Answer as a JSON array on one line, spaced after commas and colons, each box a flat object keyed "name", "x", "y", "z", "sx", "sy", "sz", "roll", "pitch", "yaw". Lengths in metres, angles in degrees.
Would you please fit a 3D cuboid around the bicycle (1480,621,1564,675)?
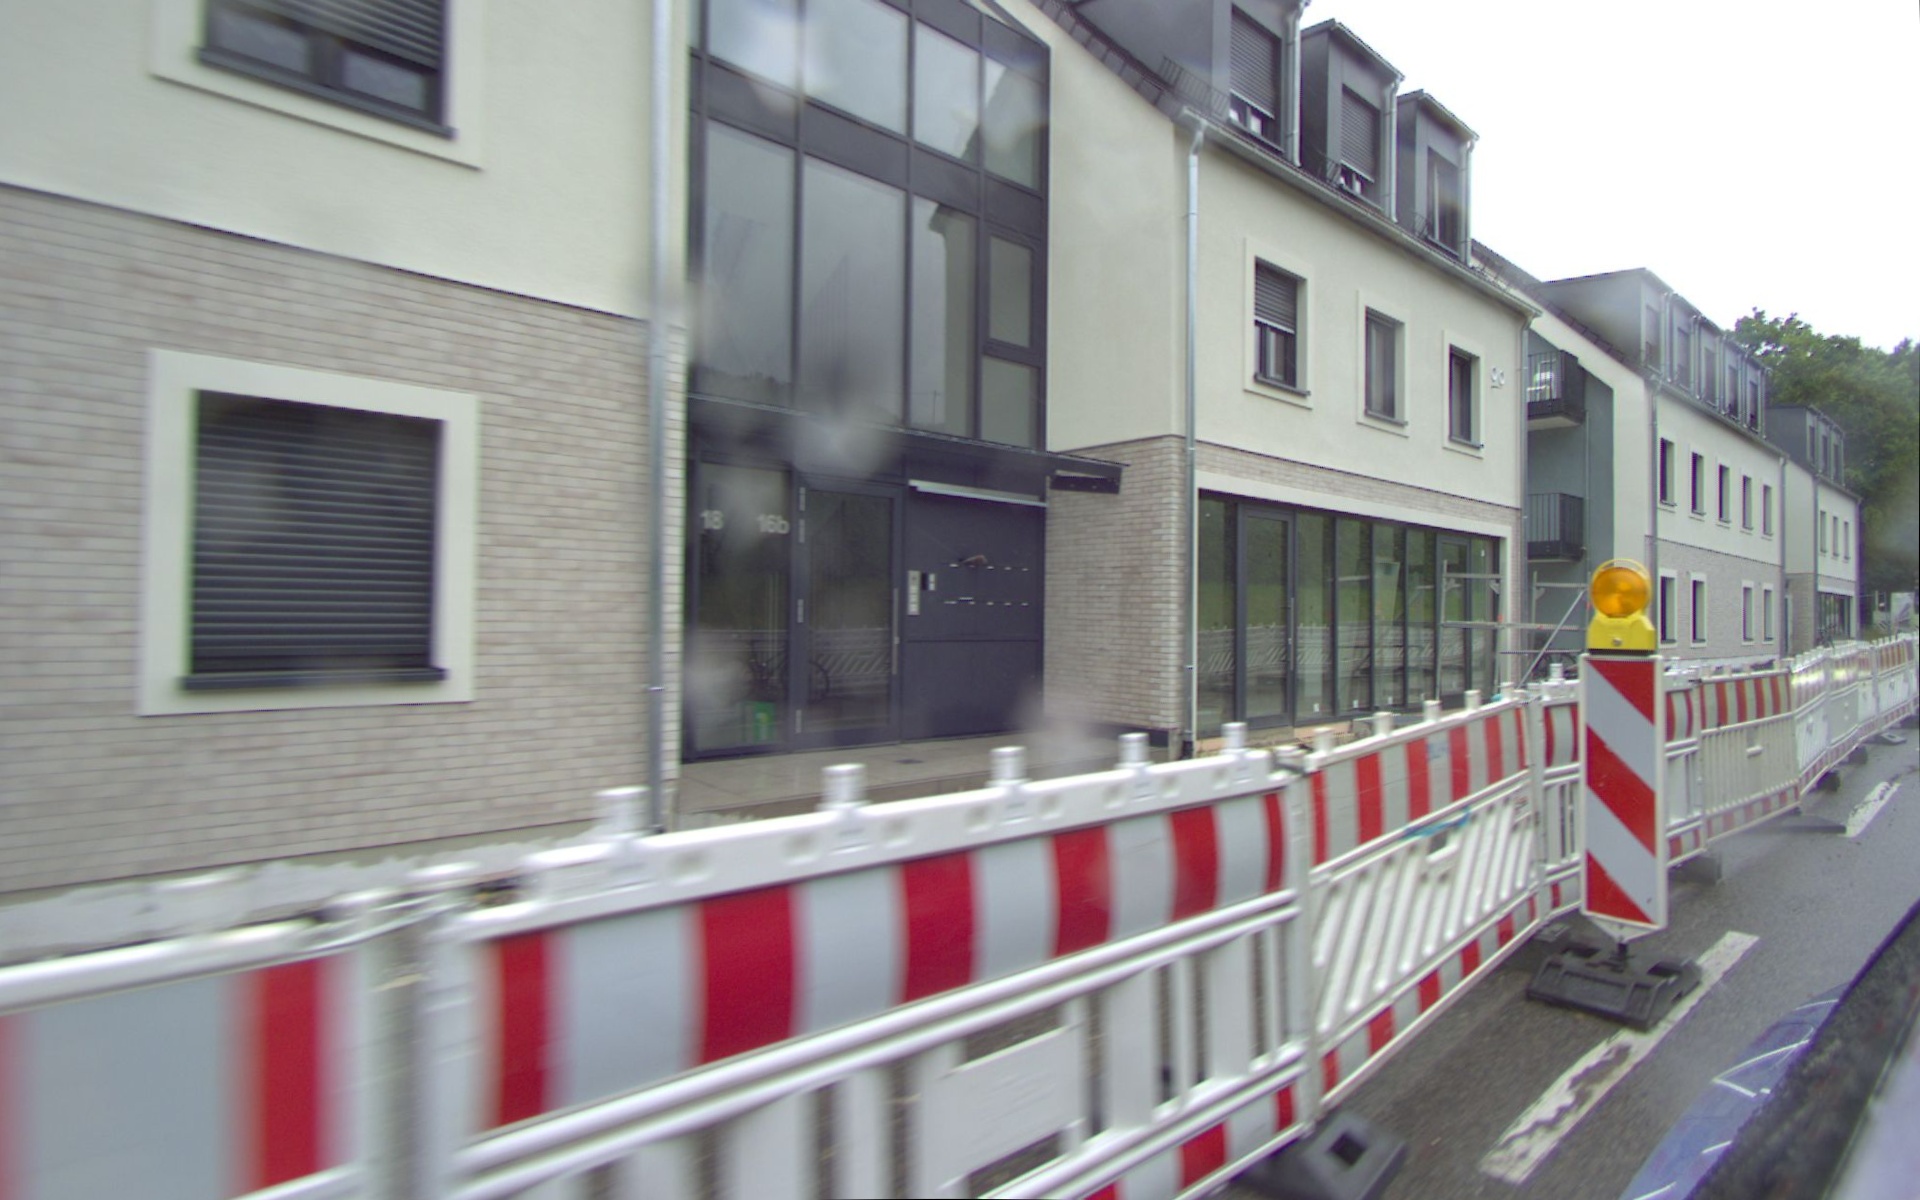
[{"name": "bicycle", "x": 11.966, "y": 1.017, "z": 21.548, "sx": 1.504, "sy": 1.091, "sz": 0.489, "roll": 1, "pitch": 0, "yaw": -1}]

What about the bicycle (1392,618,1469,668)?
[{"name": "bicycle", "x": 10.746, "y": 0.974, "z": 23.119, "sx": 1.504, "sy": 1.091, "sz": 0.489, "roll": 1, "pitch": 0, "yaw": -1}]

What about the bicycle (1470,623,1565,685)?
[{"name": "bicycle", "x": 10.636, "y": 1.015, "z": 19.334, "sx": 0.442, "sy": 1.066, "sz": 1.532, "roll": 0, "pitch": 1, "yaw": -39}]

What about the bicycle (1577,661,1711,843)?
[{"name": "bicycle", "x": 4.572, "y": 0.961, "z": 6.742, "sx": 1.199, "sy": 1.042, "sz": 0.407, "roll": 0, "pitch": 1, "yaw": -40}]

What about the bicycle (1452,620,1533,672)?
[{"name": "bicycle", "x": 11.598, "y": 1.003, "z": 22.059, "sx": 1.504, "sy": 1.091, "sz": 0.489, "roll": 1, "pitch": 0, "yaw": -1}]

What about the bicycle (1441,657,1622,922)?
[{"name": "bicycle", "x": 2.974, "y": 0.909, "z": 5.231, "sx": 1.199, "sy": 1.158, "sz": 0.407, "roll": 0, "pitch": 1, "yaw": -40}]

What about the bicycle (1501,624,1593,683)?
[{"name": "bicycle", "x": 11.399, "y": 1.022, "z": 19.697, "sx": 1.522, "sy": 1.066, "sz": 0.445, "roll": 1, "pitch": 1, "yaw": 32}]
